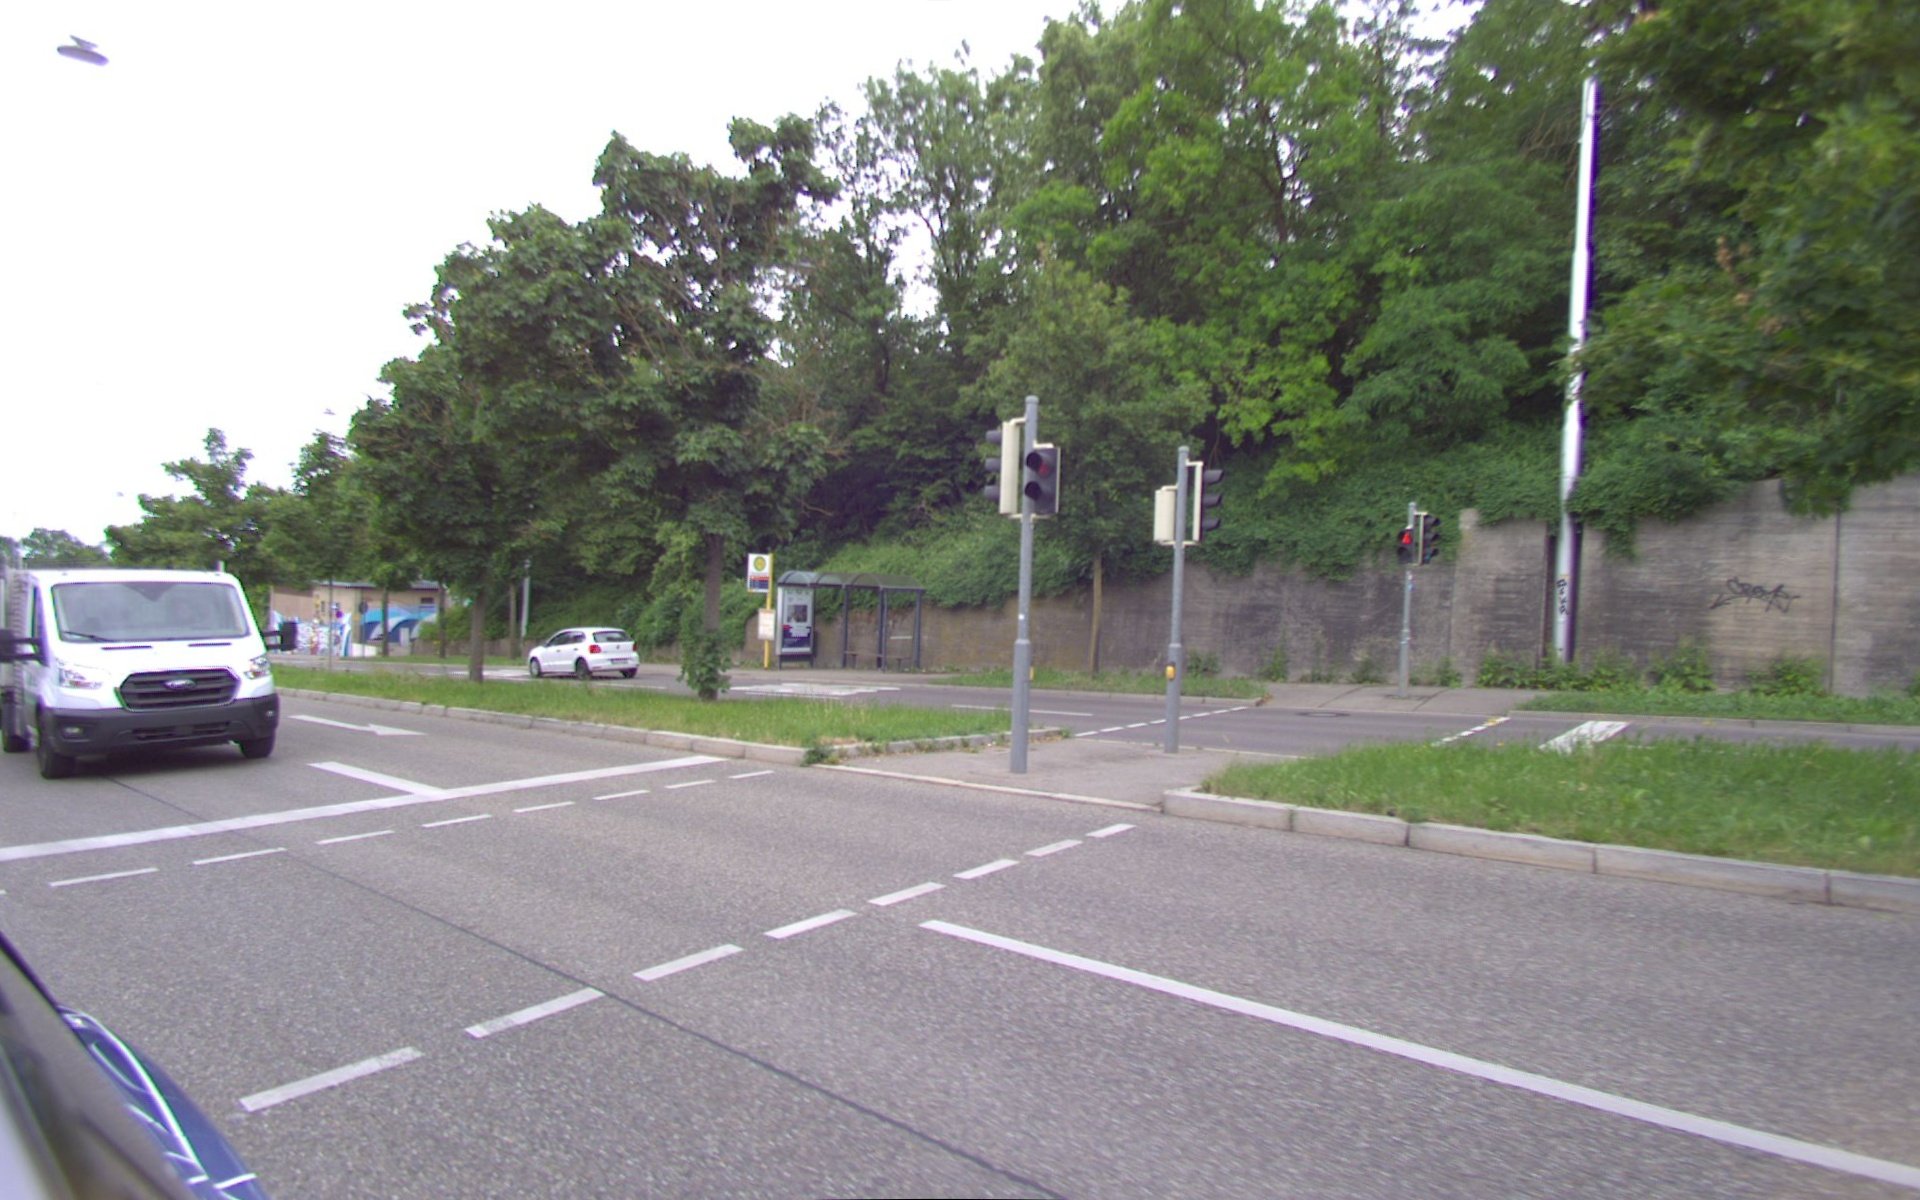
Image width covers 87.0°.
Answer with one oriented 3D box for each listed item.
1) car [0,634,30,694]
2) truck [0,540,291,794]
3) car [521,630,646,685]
[{"bbox_3d":[-26.061,1.701,26.624,4.398,1.492,1.891,-3,-2,41],"label":"car"},{"bbox_3d":[-10.270,0.683,12.199,6.328,2.339,2.054,-1,-2,41],"label":"truck"},{"bbox_3d":[-10.876,1.602,29.117,3.786,1.439,1.712,-1,-1,39],"label":"car"}]
